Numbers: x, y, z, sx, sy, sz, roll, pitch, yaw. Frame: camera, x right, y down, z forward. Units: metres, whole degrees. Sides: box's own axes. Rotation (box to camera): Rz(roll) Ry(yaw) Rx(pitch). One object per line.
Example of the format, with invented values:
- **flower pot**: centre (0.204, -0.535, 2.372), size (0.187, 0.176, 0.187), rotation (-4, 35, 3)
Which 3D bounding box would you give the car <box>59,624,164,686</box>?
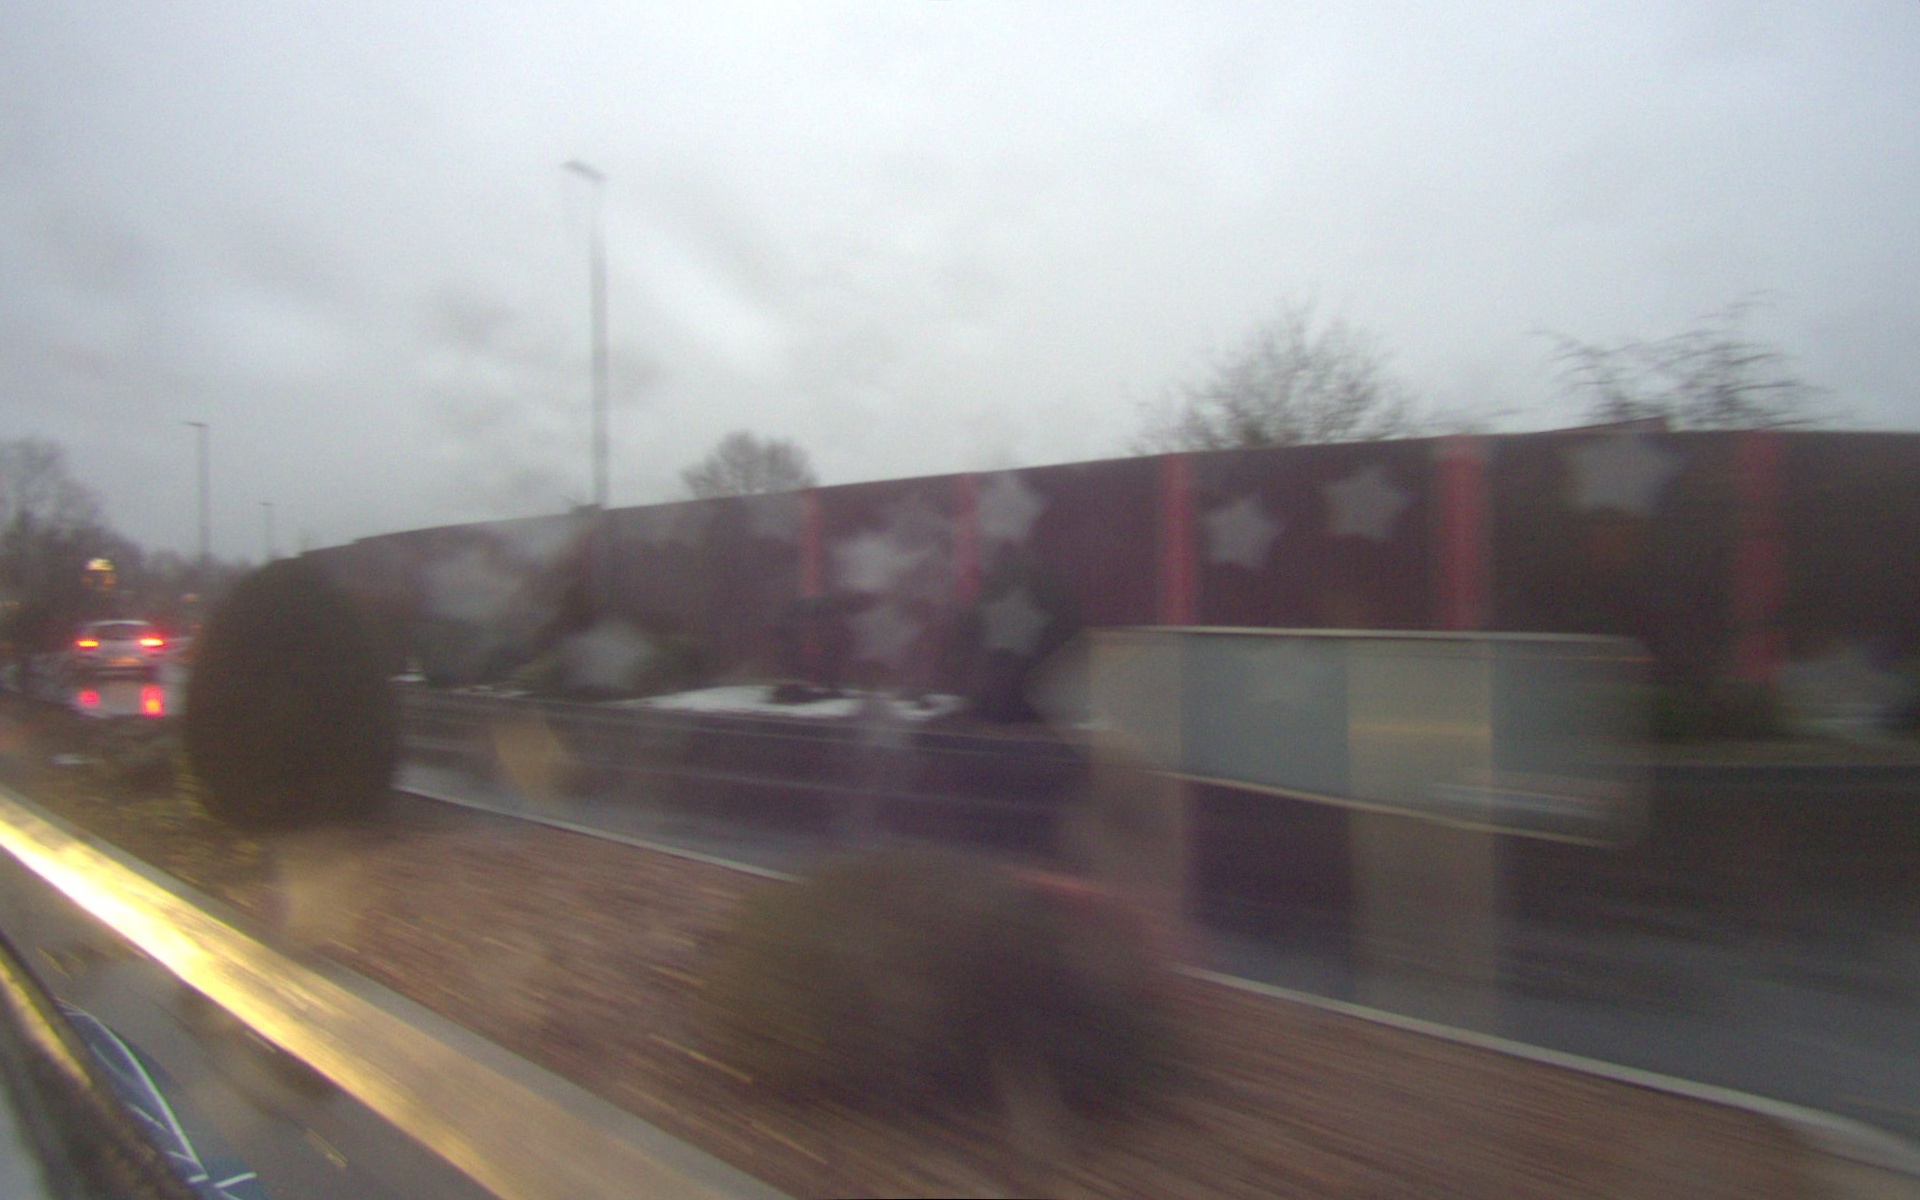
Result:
- **car**: centre (-22.368, 1.403, 26.652), size (3.683, 1.480, 1.590), rotation (-1, -1, 41)
